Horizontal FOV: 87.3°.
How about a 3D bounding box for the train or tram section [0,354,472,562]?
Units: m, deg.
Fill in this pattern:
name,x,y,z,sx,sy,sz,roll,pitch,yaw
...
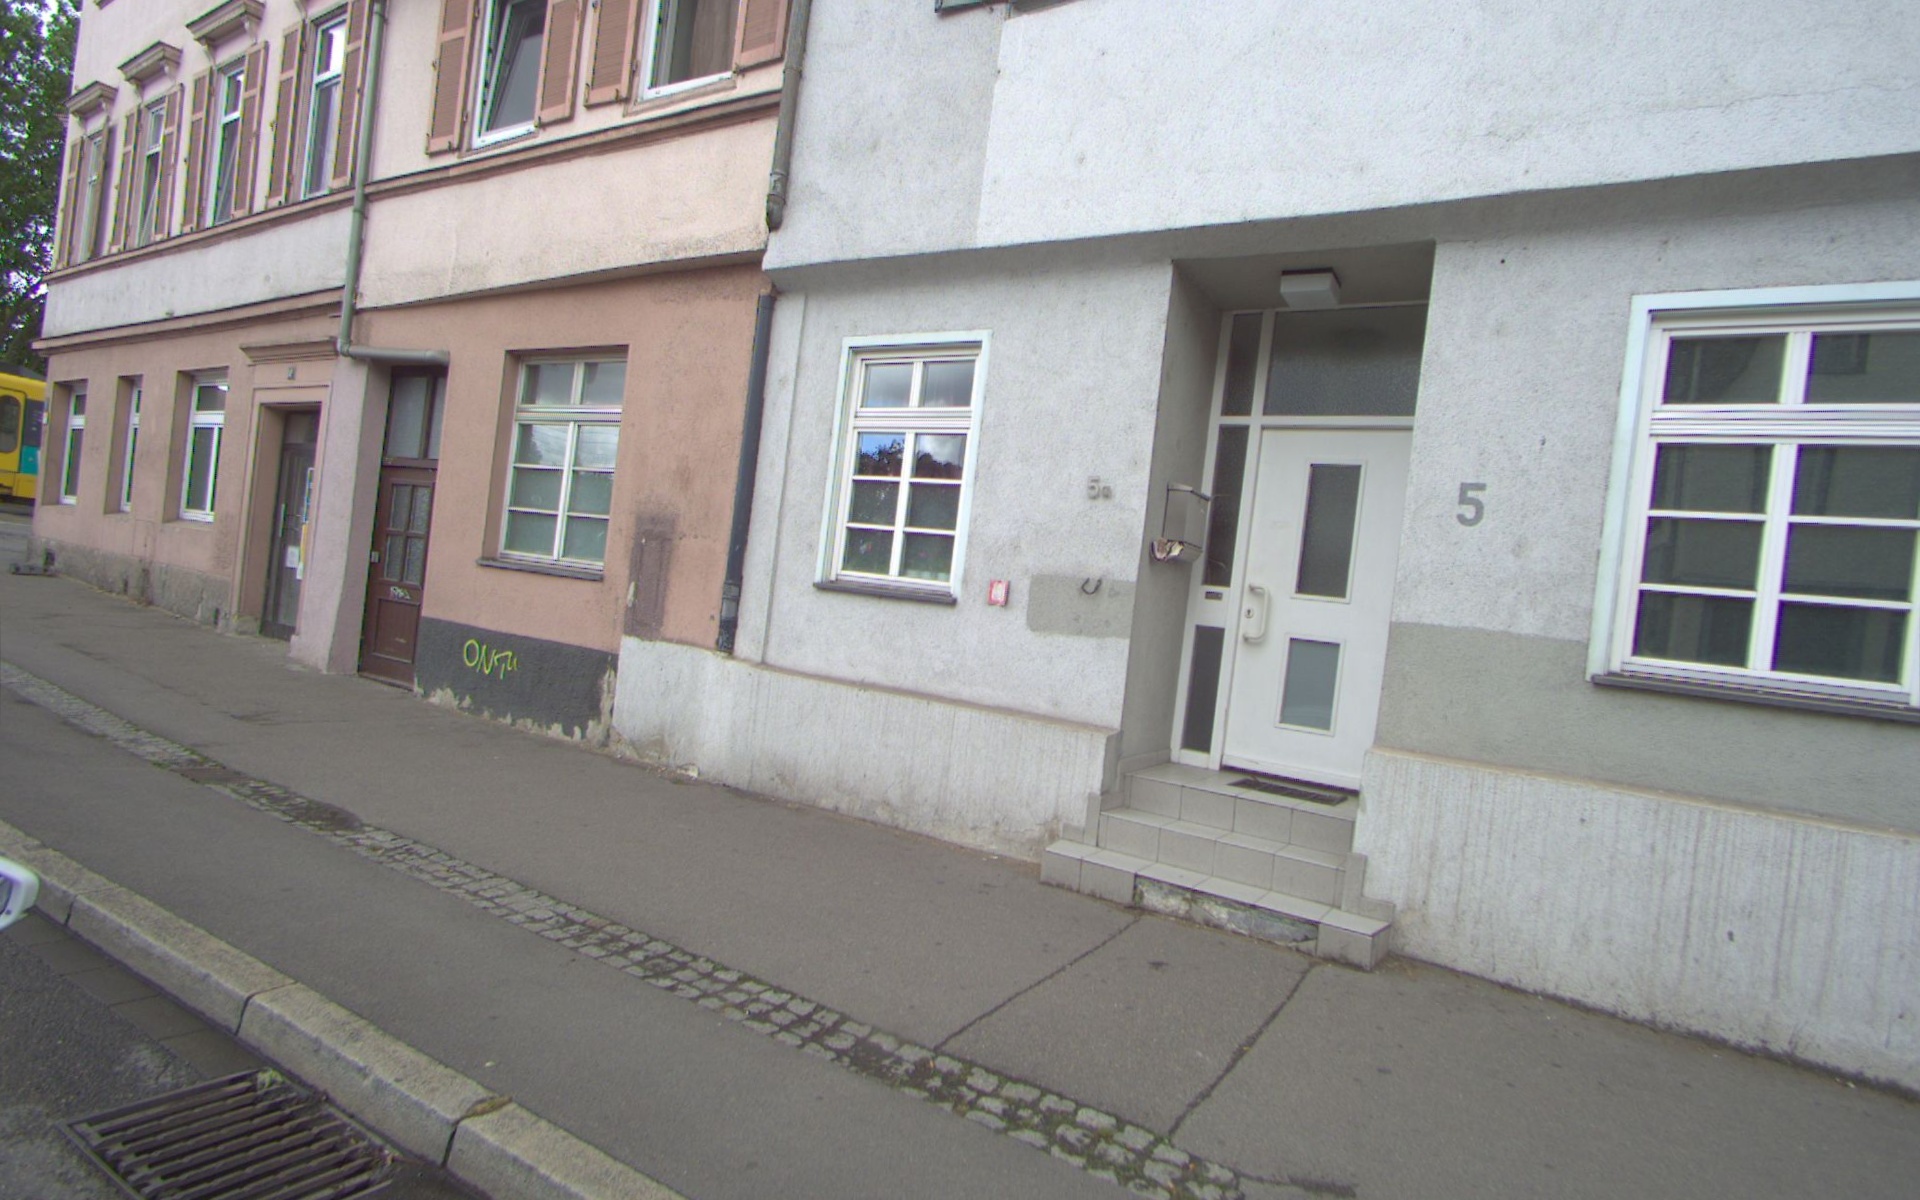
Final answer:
name,x,y,z,sx,sy,sz,roll,pitch,yaw
train or tram section,-23.830,-4.139,29.018,3.250,4.053,19.264,10,1,26
